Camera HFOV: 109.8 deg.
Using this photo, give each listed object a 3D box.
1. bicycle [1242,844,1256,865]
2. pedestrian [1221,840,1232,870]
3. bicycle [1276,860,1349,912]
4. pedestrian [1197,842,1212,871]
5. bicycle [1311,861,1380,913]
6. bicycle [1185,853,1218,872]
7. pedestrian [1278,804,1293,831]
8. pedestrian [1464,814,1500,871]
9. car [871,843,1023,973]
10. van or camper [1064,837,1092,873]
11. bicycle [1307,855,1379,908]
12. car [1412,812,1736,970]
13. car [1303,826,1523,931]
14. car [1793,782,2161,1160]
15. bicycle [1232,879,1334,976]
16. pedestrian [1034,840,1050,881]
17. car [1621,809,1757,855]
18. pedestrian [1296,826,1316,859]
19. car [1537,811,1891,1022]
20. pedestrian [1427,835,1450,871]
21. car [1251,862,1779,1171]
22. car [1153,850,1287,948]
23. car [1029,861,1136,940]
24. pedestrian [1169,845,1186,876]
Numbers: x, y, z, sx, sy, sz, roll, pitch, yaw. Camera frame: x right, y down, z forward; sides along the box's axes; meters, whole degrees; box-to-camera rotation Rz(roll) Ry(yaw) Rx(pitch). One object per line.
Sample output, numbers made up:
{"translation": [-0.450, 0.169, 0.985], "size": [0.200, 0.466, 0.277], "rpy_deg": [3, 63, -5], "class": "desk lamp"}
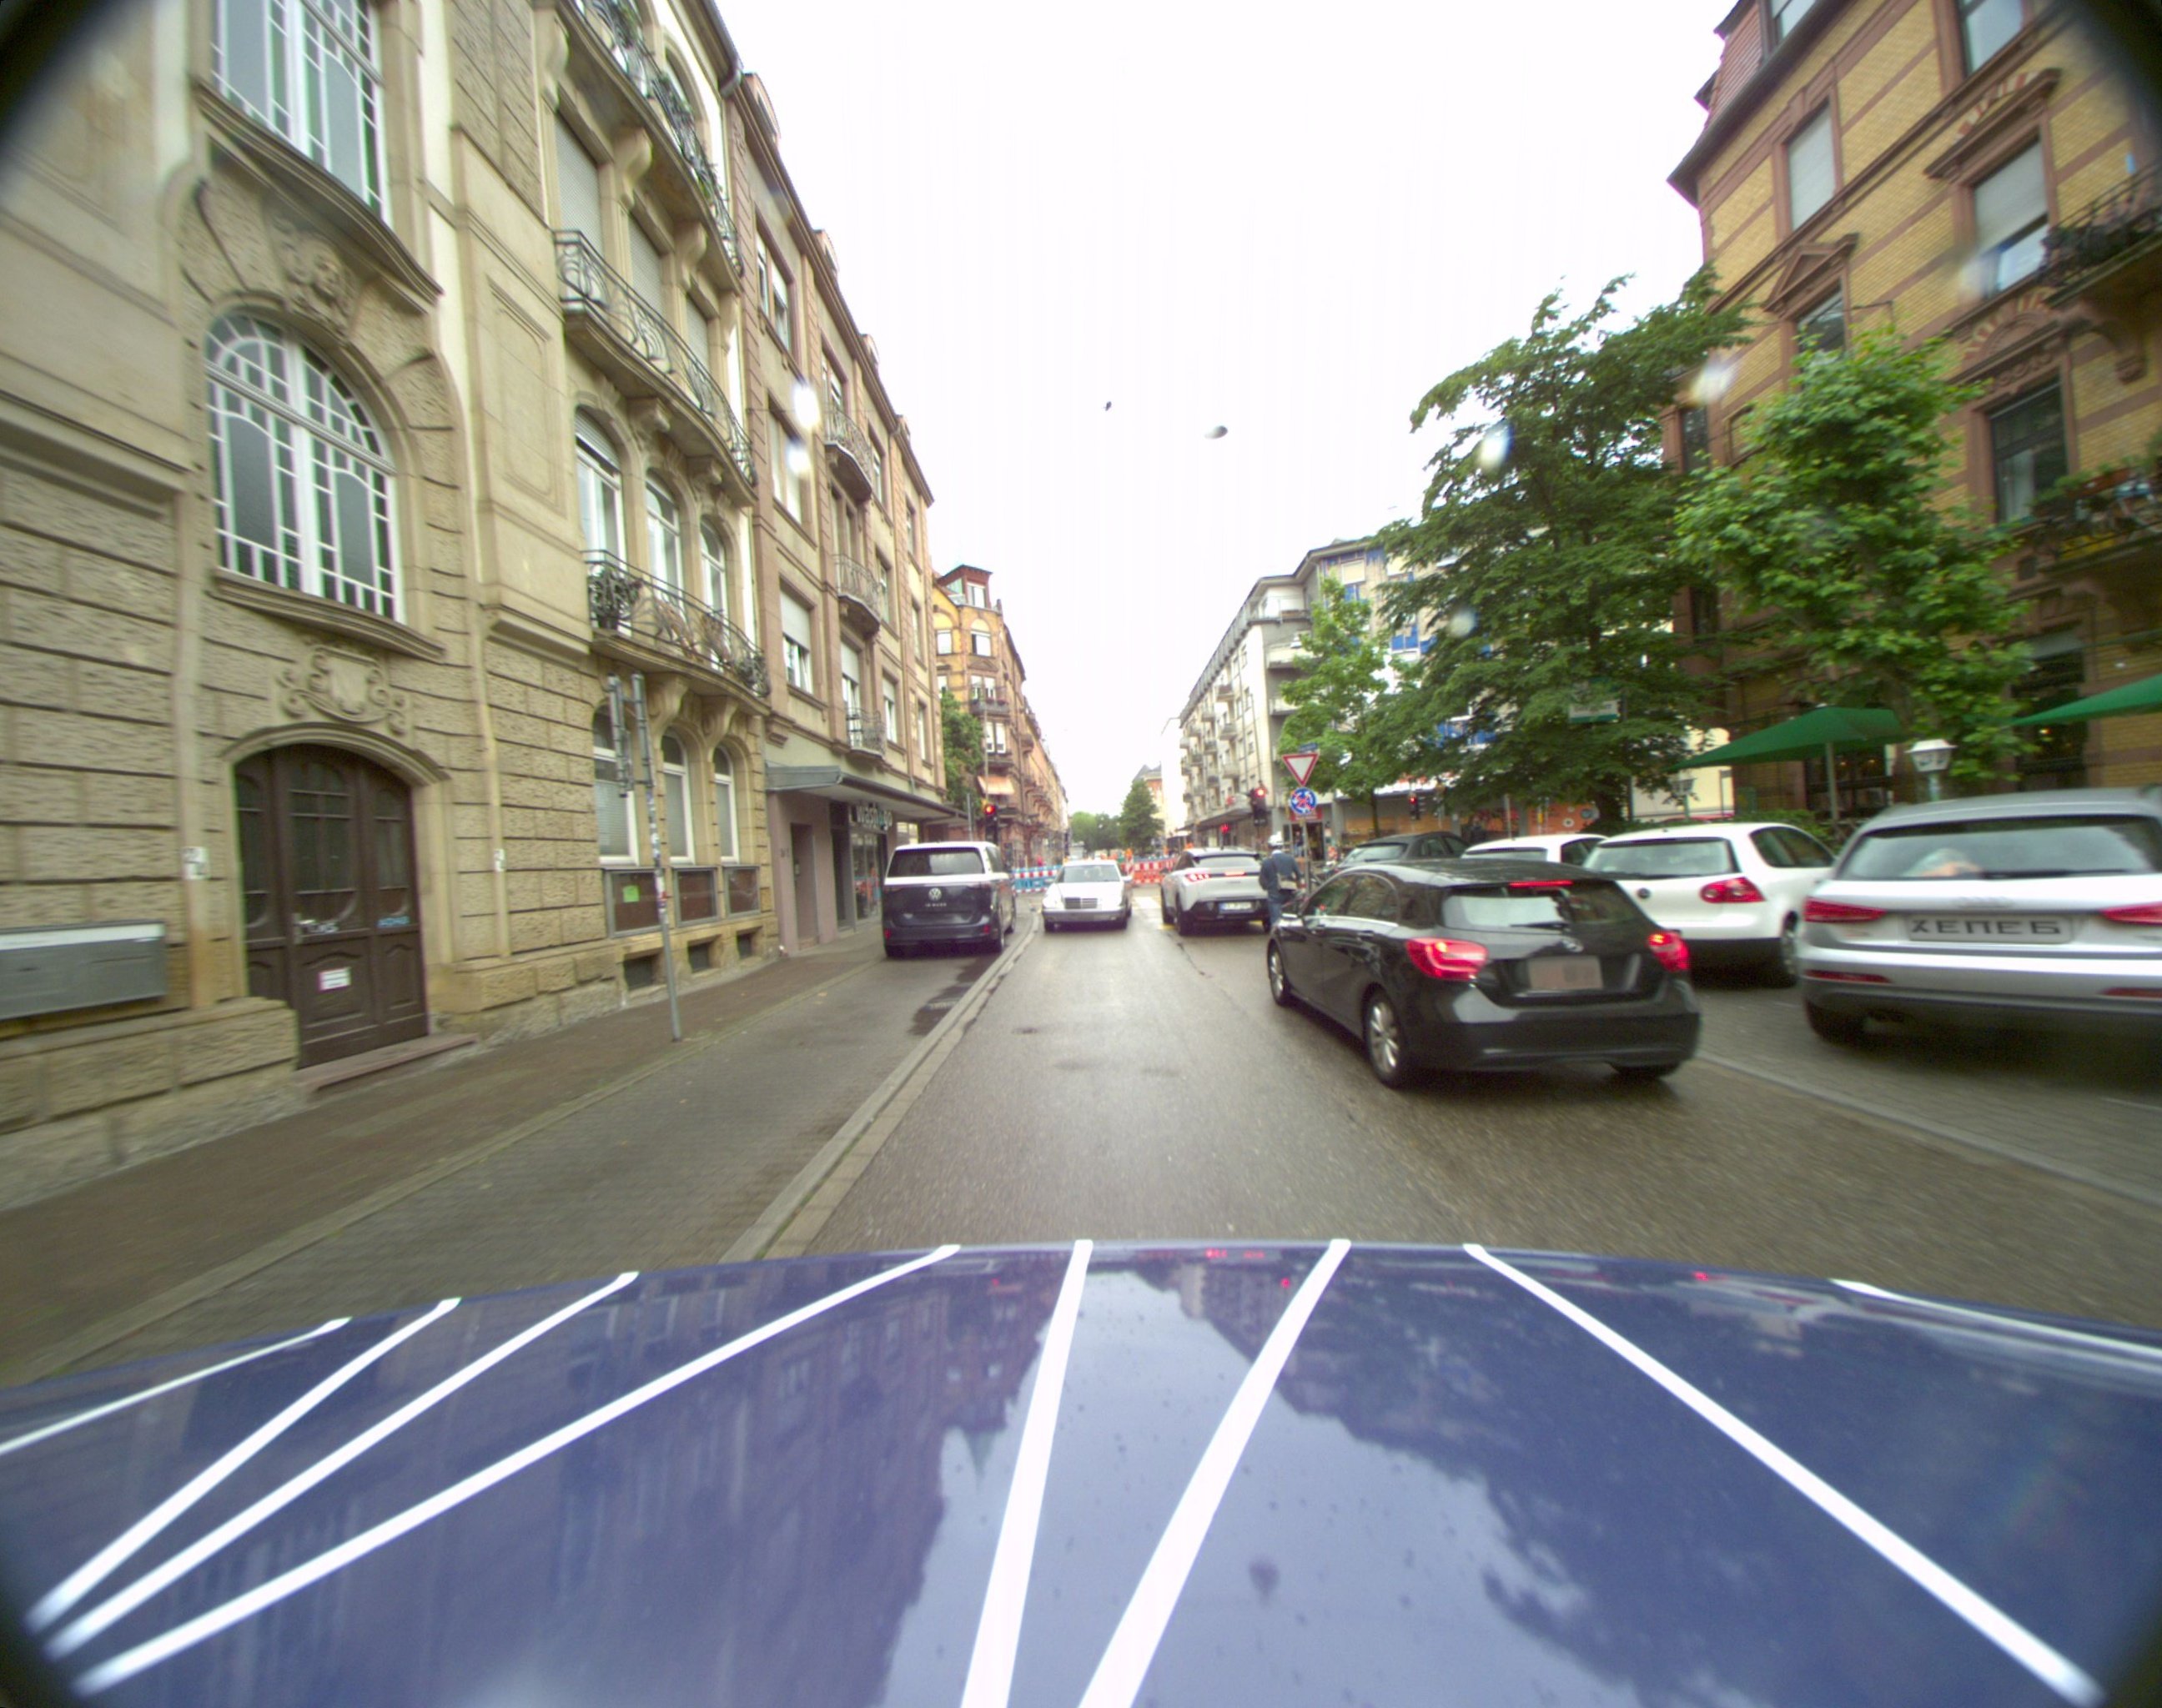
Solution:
{"translation": [11.205, 0.033, 50.738], "size": [0.450, 1.365, 2.024], "rpy_deg": [-6, 0, 3], "class": "bicycle"}
{"translation": [9.217, 0.053, 48.150], "size": [0.604, 1.837, 0.770], "rpy_deg": [-4, 0, 9], "class": "pedestrian"}
{"translation": [5.462, 0.741, 18.026], "size": [0.588, 1.137, 1.679], "rpy_deg": [-5, 1, -27], "class": "bicycle"}
{"translation": [8.037, 0.138, 49.427], "size": [0.862, 1.837, 0.770], "rpy_deg": [-4, 0, 9], "class": "pedestrian"}
{"translation": [6.172, 0.750, 17.805], "size": [0.400, 1.137, 1.679], "rpy_deg": [-5, 1, -24], "class": "bicycle"}
{"translation": [7.841, 0.547, 49.349], "size": [1.895, 1.028, 0.661], "rpy_deg": [-6, 0, -13], "class": "bicycle"}
{"translation": [12.067, -2.163, 44.834], "size": [0.544, 1.575, 0.695], "rpy_deg": [-3, 2, 36], "class": "pedestrian"}
{"translation": [14.655, -0.431, 27.770], "size": [0.942, 2.002, 0.866], "rpy_deg": [-4, 0, 36], "class": "pedestrian"}
{"translation": [-2.260, 0.811, 14.314], "size": [1.999, 1.927, 5.229], "rpy_deg": [-2, 0, -2], "class": "car"}
{"translation": [-0.307, 0.072, 76.466], "size": [2.411, 3.308, 7.073], "rpy_deg": [-4, 0, 0], "class": "van or camper"}
{"translation": [6.314, 0.652, 18.401], "size": [0.400, 1.178, 1.874], "rpy_deg": [-5, 1, -24], "class": "bicycle"}
{"translation": [7.102, 0.415, 10.797], "size": [4.731, 1.554, 1.996], "rpy_deg": [-6, 0, -33], "class": "car"}
{"translation": [6.786, 0.404, 15.367], "size": [4.464, 1.555, 1.995], "rpy_deg": [-6, 3, -35], "class": "car"}
{"translation": [6.657, 0.480, 5.152], "size": [4.143, 1.652, 1.797], "rpy_deg": [-7, 2, -35], "class": "car"}
{"translation": [2.810, 0.980, 10.853], "size": [0.772, 1.173, 2.270], "rpy_deg": [-3, -1, -1], "class": "bicycle"}
{"translation": [-2.528, 0.445, 49.473], "size": [0.696, 2.594, 0.539], "rpy_deg": [-5, 1, -31], "class": "pedestrian"}
{"translation": [25.897, -0.870, 32.618], "size": [1.999, 1.670, 4.457], "rpy_deg": [-4, 0, -4], "class": "car"}
{"translation": [13.385, -0.689, 45.243], "size": [0.692, 1.757, 0.865], "rpy_deg": [-4, 9, 36], "class": "pedestrian"}
{"translation": [6.908, 0.476, 8.170], "size": [4.143, 1.485, 1.797], "rpy_deg": [-7, 3, -34], "class": "car"}
{"translation": [16.929, -0.046, 35.948], "size": [0.797, 1.606, 0.606], "rpy_deg": [-4, 1, 36], "class": "pedestrian"}
{"translation": [2.707, 0.863, 5.995], "size": [1.800, 1.485, 4.138], "rpy_deg": [-2, 0, 0], "class": "car"}
{"translation": [2.637, 0.782, 15.618], "size": [1.863, 1.650, 5.008], "rpy_deg": [-2, 0, 1], "class": "car"}
{"translation": [0.199, 0.952, 17.595], "size": [1.858, 1.390, 4.982], "rpy_deg": [-3, 0, 6], "class": "car"}
{"translation": [6.023, 0.404, 47.417], "size": [0.717, 1.886, 0.606], "rpy_deg": [-4, 1, 36], "class": "pedestrian"}
